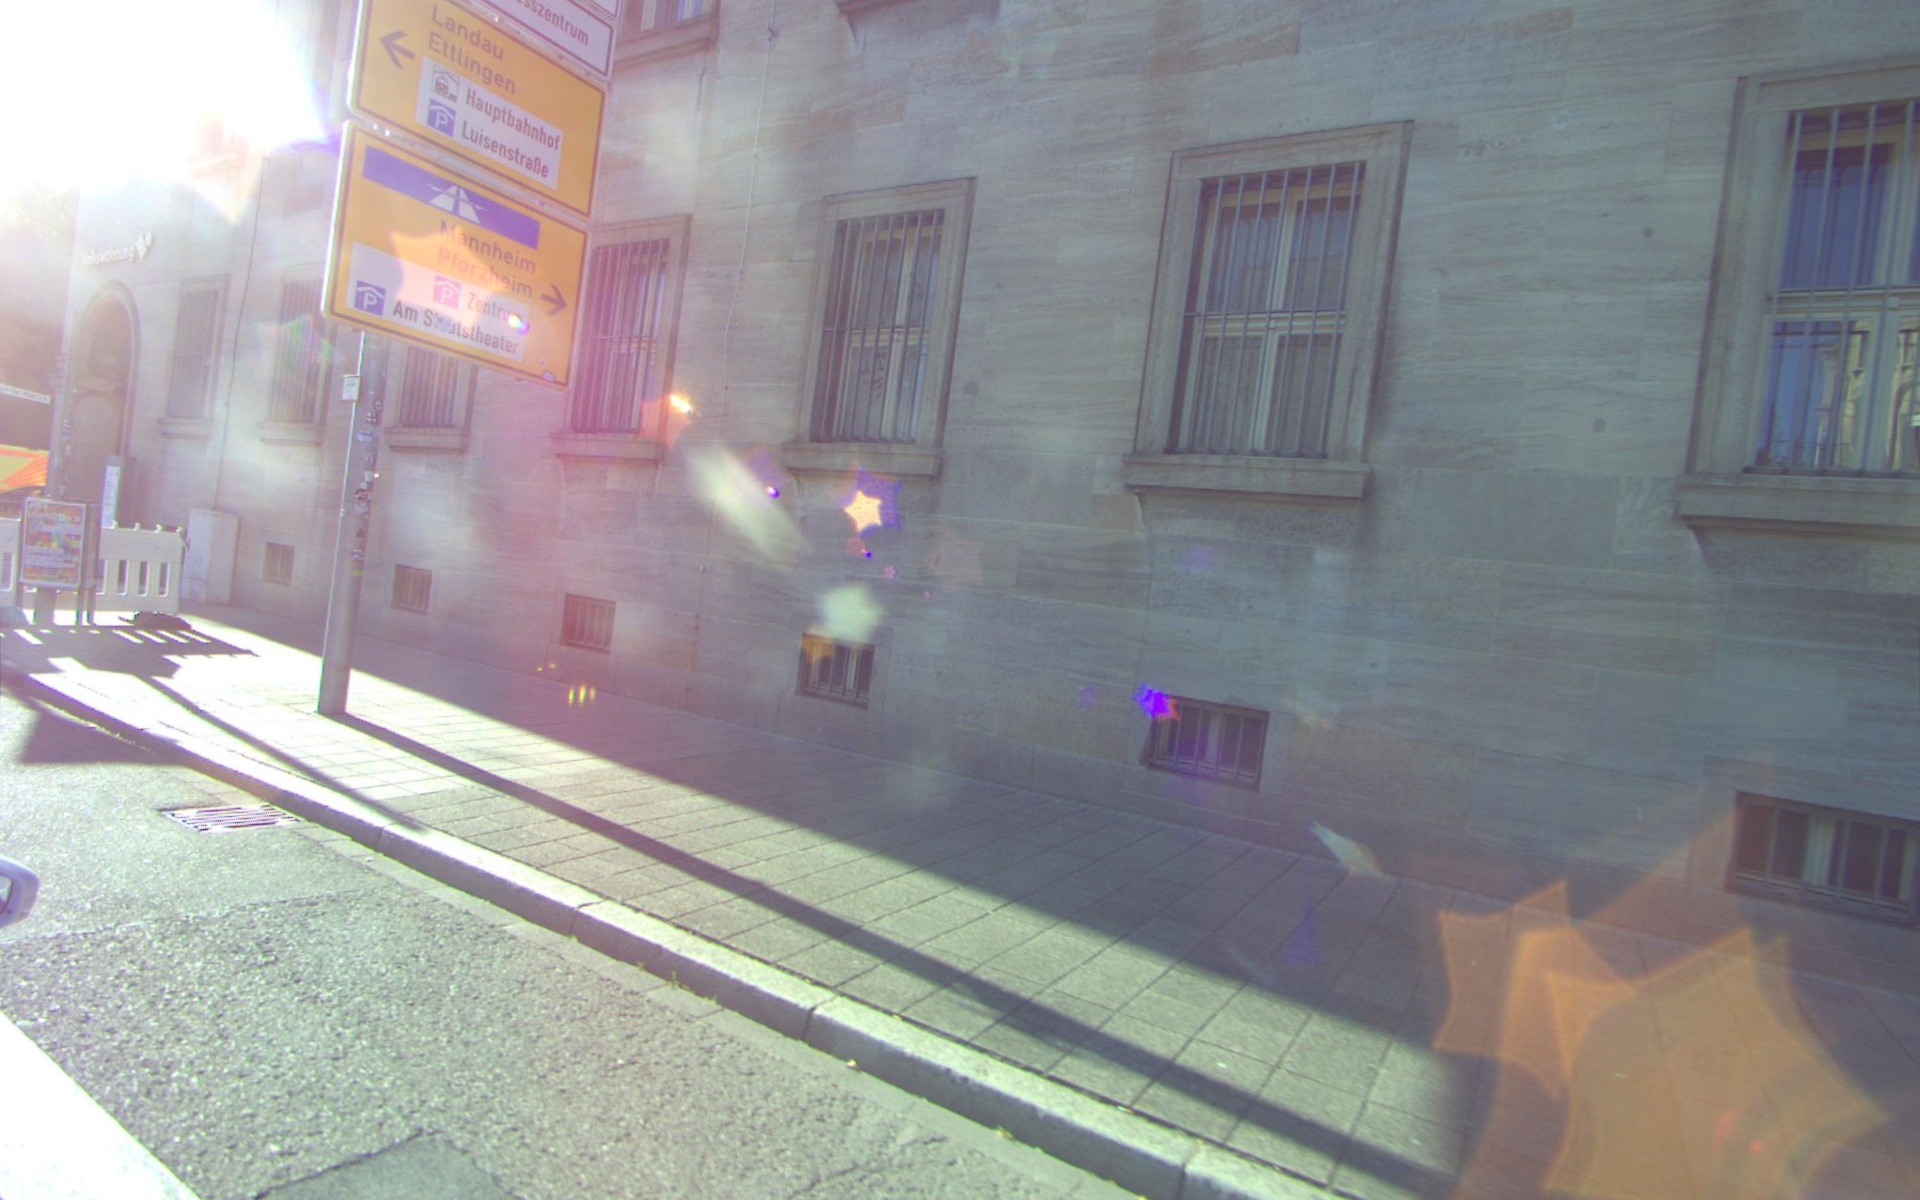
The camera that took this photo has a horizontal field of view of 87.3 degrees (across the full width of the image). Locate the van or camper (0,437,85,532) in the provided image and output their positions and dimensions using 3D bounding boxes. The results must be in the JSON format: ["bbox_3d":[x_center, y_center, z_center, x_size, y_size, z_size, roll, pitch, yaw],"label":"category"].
[{"bbox_3d":[-34.866,-4.389,34.451,2.866,2.893,6.716,6,-3,36],"label":"van or camper"}]

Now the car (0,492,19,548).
[{"bbox_3d":[-31.251,-2.750,29.931,1.857,1.665,4.324,6,-3,32],"label":"car"}]
